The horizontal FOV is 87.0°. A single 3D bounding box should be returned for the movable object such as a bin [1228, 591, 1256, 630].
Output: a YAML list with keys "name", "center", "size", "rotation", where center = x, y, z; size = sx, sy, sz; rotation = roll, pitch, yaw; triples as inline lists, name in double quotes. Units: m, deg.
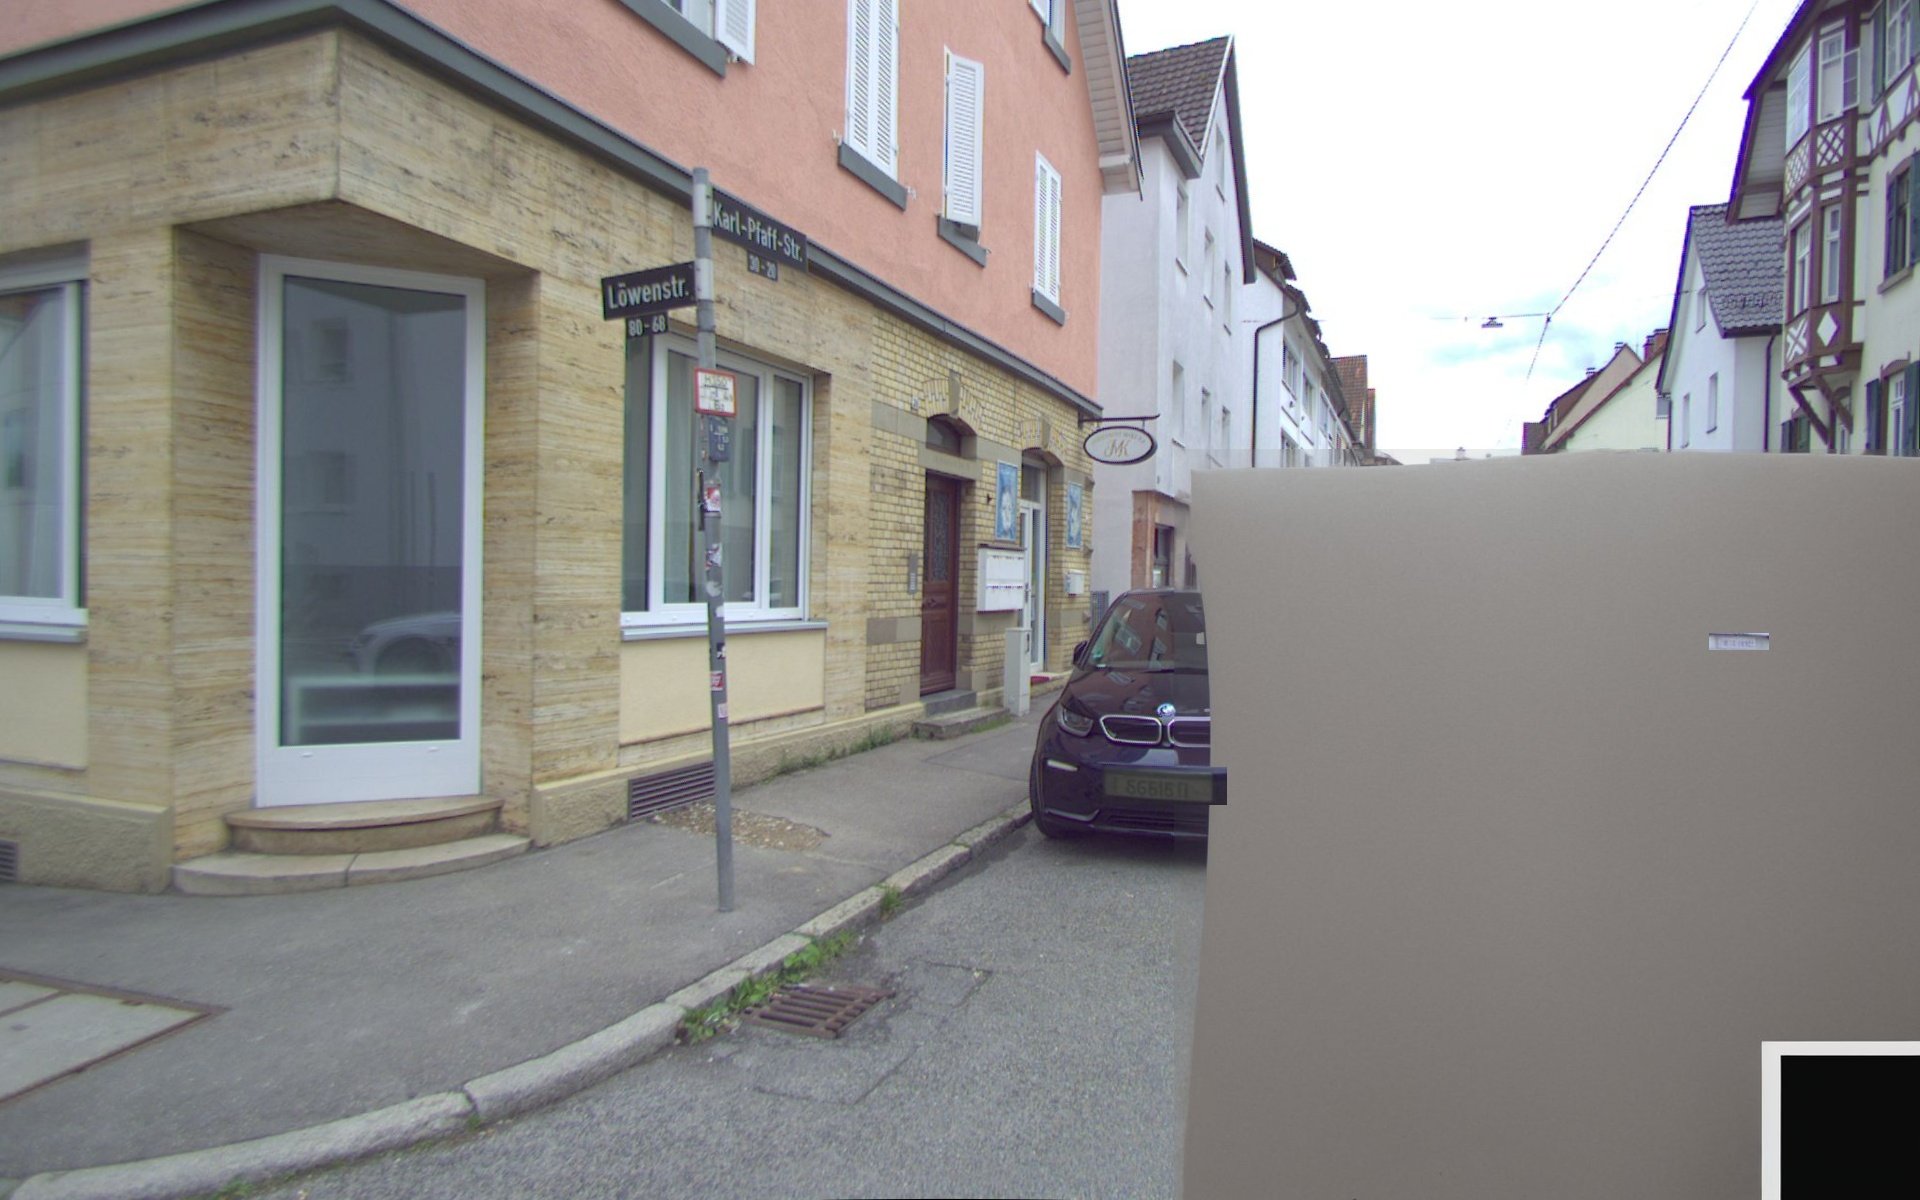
- name: "movable object such as a bin"
  center: [7.268, 0.266, 26.064]
  size: [0.565, 0.941, 0.517]
  rotation: [4, 2, 27]

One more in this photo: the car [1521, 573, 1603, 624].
- name: "car"
  center: [20.553, -0.109, 34.732]
  size: [1.738, 1.448, 4.318]
  rotation: [4, 4, 22]

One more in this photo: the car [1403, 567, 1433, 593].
- name: "car"
  center: [28.664, -1.282, 63.270]
  size: [1.591, 1.490, 3.955]
  rotation: [-2, 1, 26]

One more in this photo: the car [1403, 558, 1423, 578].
- name: "car"
  center: [42.615, -3.033, 95.098]
  size: [1.591, 1.747, 3.521]
  rotation: [-2, 1, 26]

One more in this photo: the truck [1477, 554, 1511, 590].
- name: "truck"
  center: [37.645, -2.009, 71.447]
  size: [1.766, 2.421, 5.441]
  rotation: [1, 2, 24]

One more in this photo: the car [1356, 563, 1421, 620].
- name: "car"
  center: [14.902, -0.358, 35.106]
  size: [1.882, 1.811, 4.307]
  rotation: [0, 2, 26]

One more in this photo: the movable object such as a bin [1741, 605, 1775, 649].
- name: "movable object such as a bin"
  center: [18.876, 0.630, 23.956]
  size: [0.510, 1.028, 0.598]
  rotation: [0, 1, 26]

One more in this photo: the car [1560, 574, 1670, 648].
- name: "car"
  center: [16.094, 0.197, 25.060]
  size: [1.741, 1.527, 4.048]
  rotation: [4, 4, 26]

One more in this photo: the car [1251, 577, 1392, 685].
- name: "car"
  center: [6.060, 0.412, 16.635]
  size: [1.773, 1.434, 4.541]
  rotation: [-2, 1, 25]

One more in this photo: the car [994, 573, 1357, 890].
- name: "car"
  center: [1.793, 0.610, 7.181]
  size: [1.803, 1.562, 3.997]
  rotation: [-1, 1, 23]

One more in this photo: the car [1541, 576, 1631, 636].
- name: "car"
  center: [18.354, 0.116, 29.820]
  size: [1.740, 1.466, 4.032]
  rotation: [4, 4, 25]

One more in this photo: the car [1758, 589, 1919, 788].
- name: "car"
  center: [8.717, 0.681, 9.034]
  size: [1.655, 1.451, 3.783]
  rotation: [2, 2, 26]

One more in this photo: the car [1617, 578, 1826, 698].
- name: "car"
  center: [11.863, 0.471, 16.089]
  size: [1.740, 1.449, 4.333]
  rotation: [4, 4, 25]

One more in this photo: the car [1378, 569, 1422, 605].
- name: "car"
  center: [20.856, -0.647, 47.911]
  size: [1.658, 1.547, 3.953]
  rotation: [-2, 1, 27]

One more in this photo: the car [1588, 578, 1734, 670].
- name: "car"
  center: [13.981, 0.380, 20.432]
  size: [1.741, 1.473, 4.331]
  rotation: [4, 4, 26]

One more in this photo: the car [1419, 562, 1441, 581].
- name: "car"
  center: [39.759, -2.409, 85.564]
  size: [1.591, 1.490, 3.521]
  rotation: [-2, 1, 26]

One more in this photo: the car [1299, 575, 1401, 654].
- name: "car"
  center: [8.419, 0.233, 21.681]
  size: [1.739, 1.450, 3.895]
  rotation: [0, 2, 26]

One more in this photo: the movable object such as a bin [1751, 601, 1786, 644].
- name: "movable object such as a bin"
  center: [18.647, 0.509, 23.357]
  size: [0.510, 0.943, 0.598]
  rotation: [0, 1, 26]

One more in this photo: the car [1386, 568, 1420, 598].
- name: "car"
  center: [25.351, -0.991, 57.807]
  size: [1.591, 1.547, 3.955]
  rotation: [-2, 1, 26]

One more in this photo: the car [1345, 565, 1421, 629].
- name: "car"
  center: [12.716, -0.162, 30.269]
  size: [1.882, 1.726, 4.456]
  rotation: [0, 2, 26]
